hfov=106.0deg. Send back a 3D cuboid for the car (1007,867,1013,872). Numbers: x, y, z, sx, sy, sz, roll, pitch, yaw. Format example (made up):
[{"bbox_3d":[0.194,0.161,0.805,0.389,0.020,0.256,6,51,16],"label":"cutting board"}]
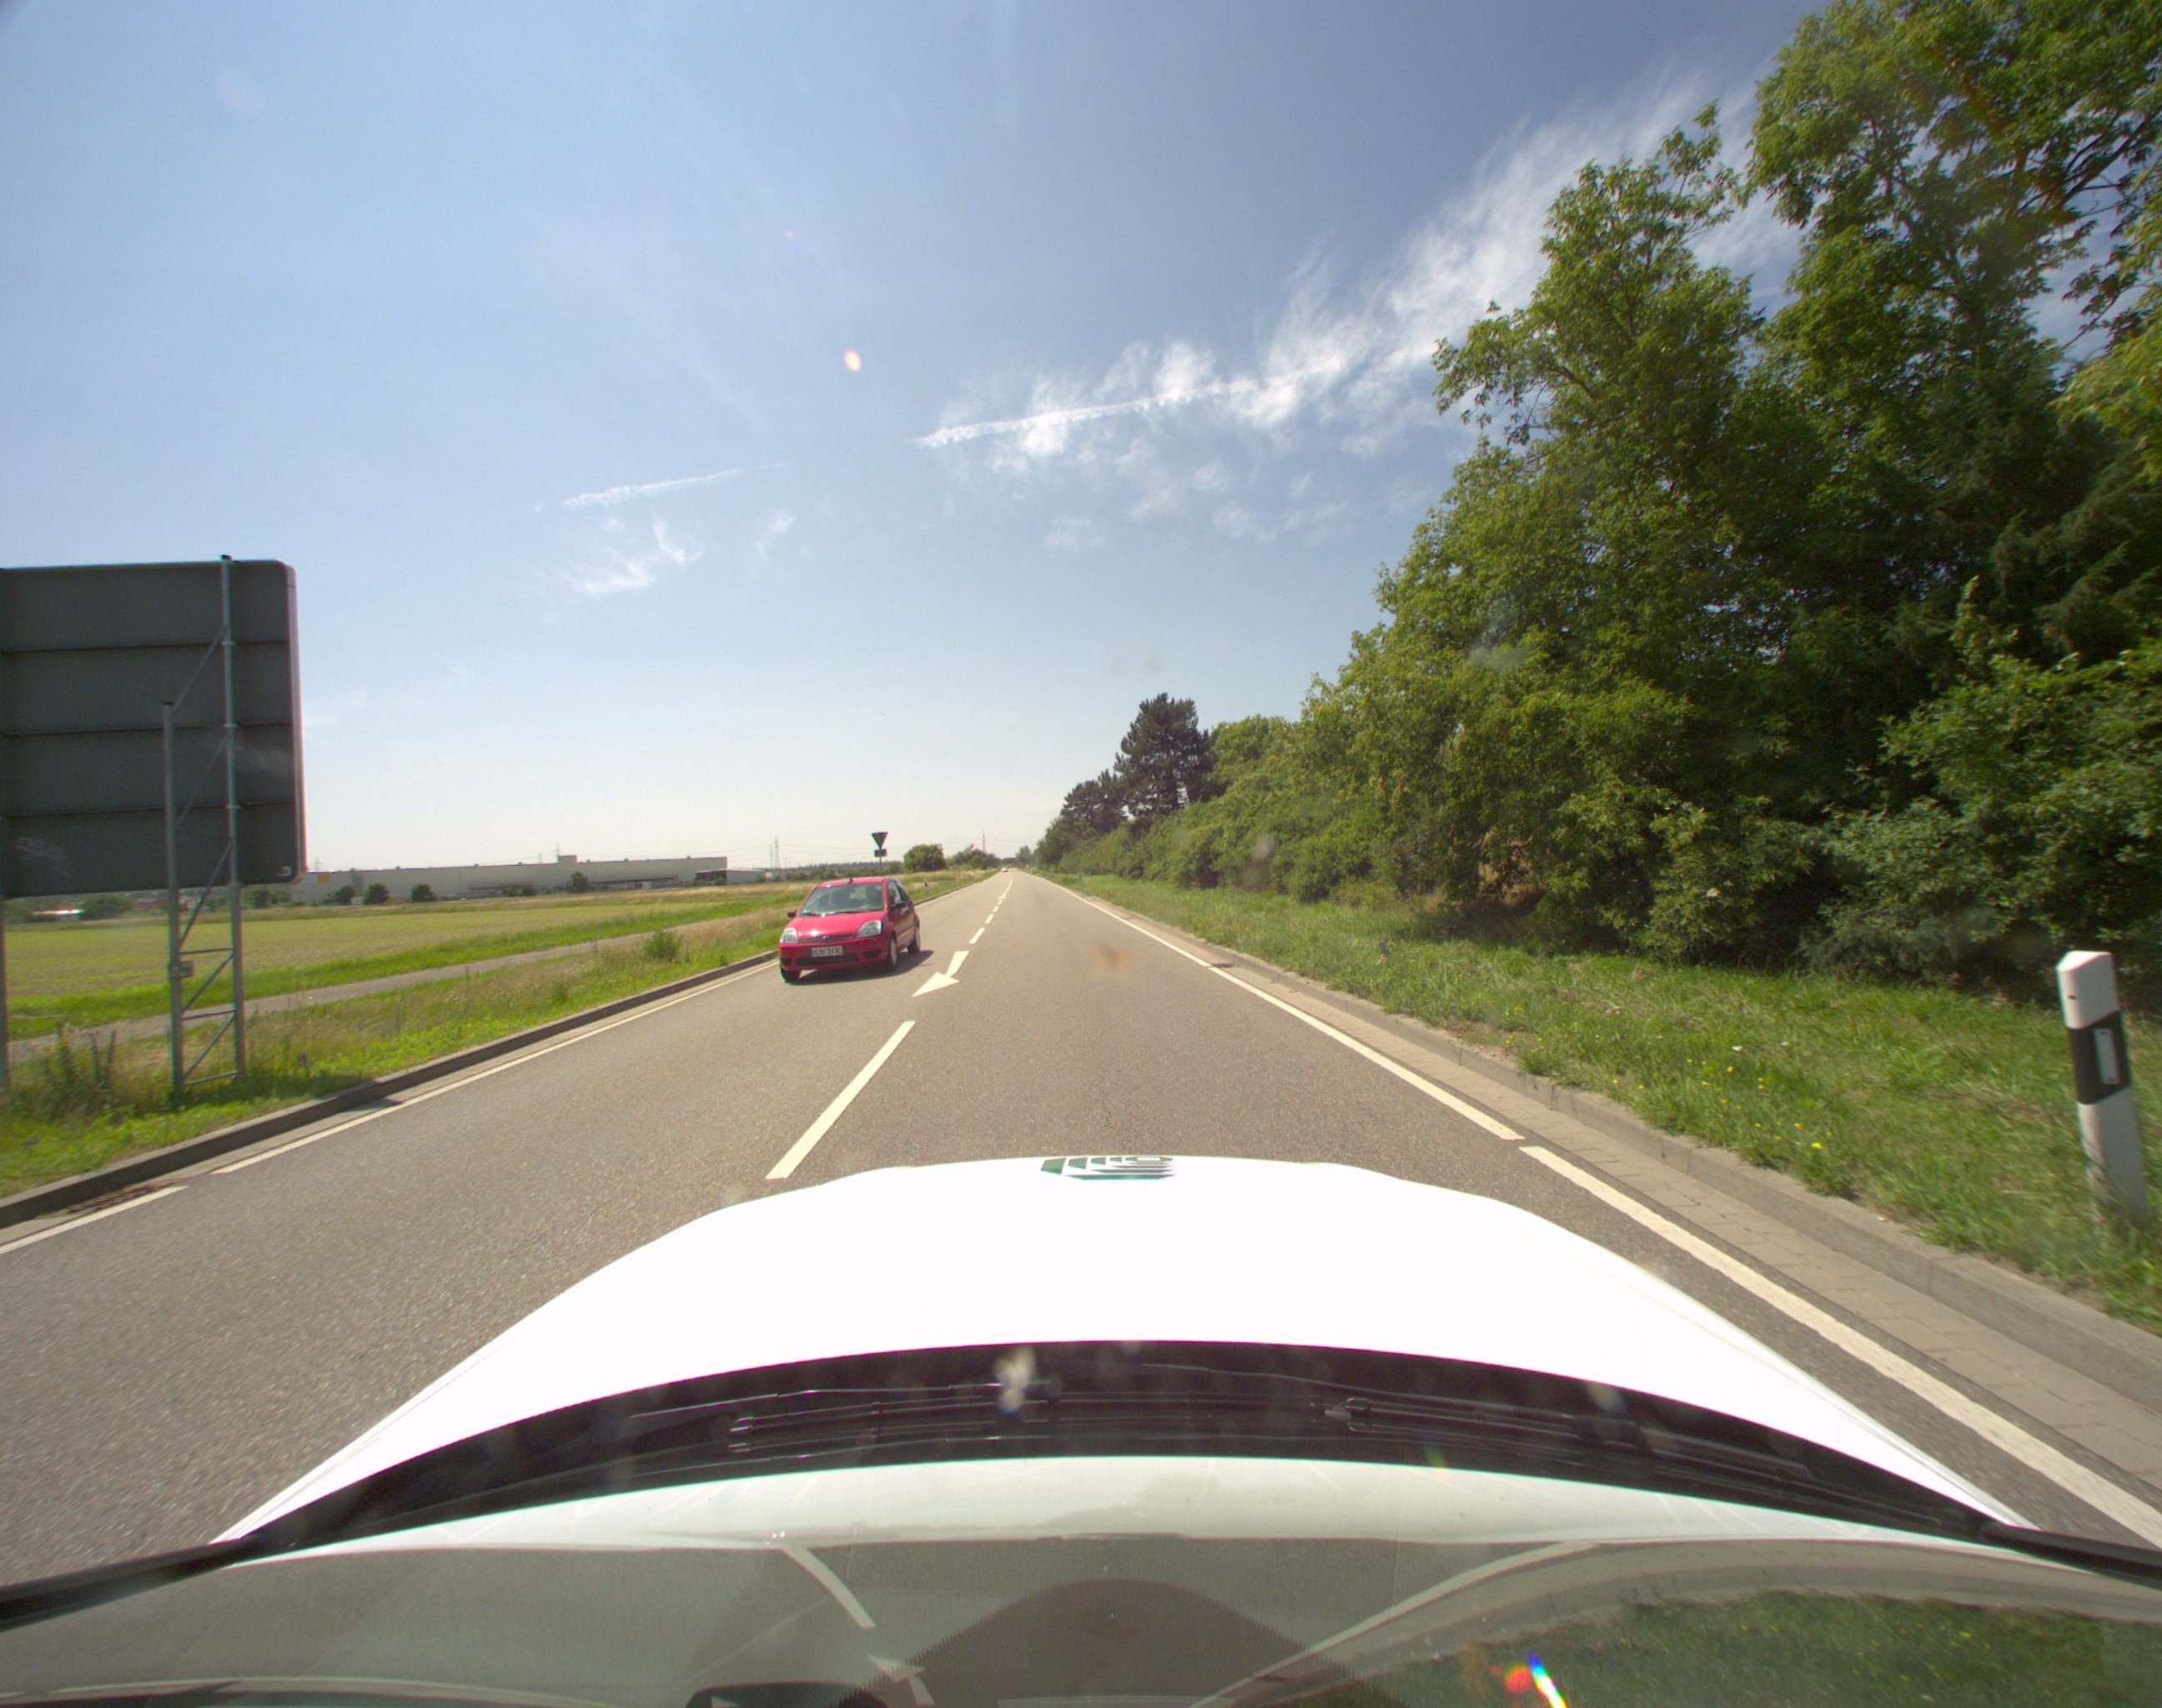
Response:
[{"bbox_3d":[-21.852,4.706,251.743,1.676,1.421,4.413,-5,-1,-6],"label":"car"}]

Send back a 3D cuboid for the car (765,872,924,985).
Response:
[{"bbox_3d":[-3.714,1.093,13.438,1.652,1.433,3.730,-5,-1,-4],"label":"car"}]
